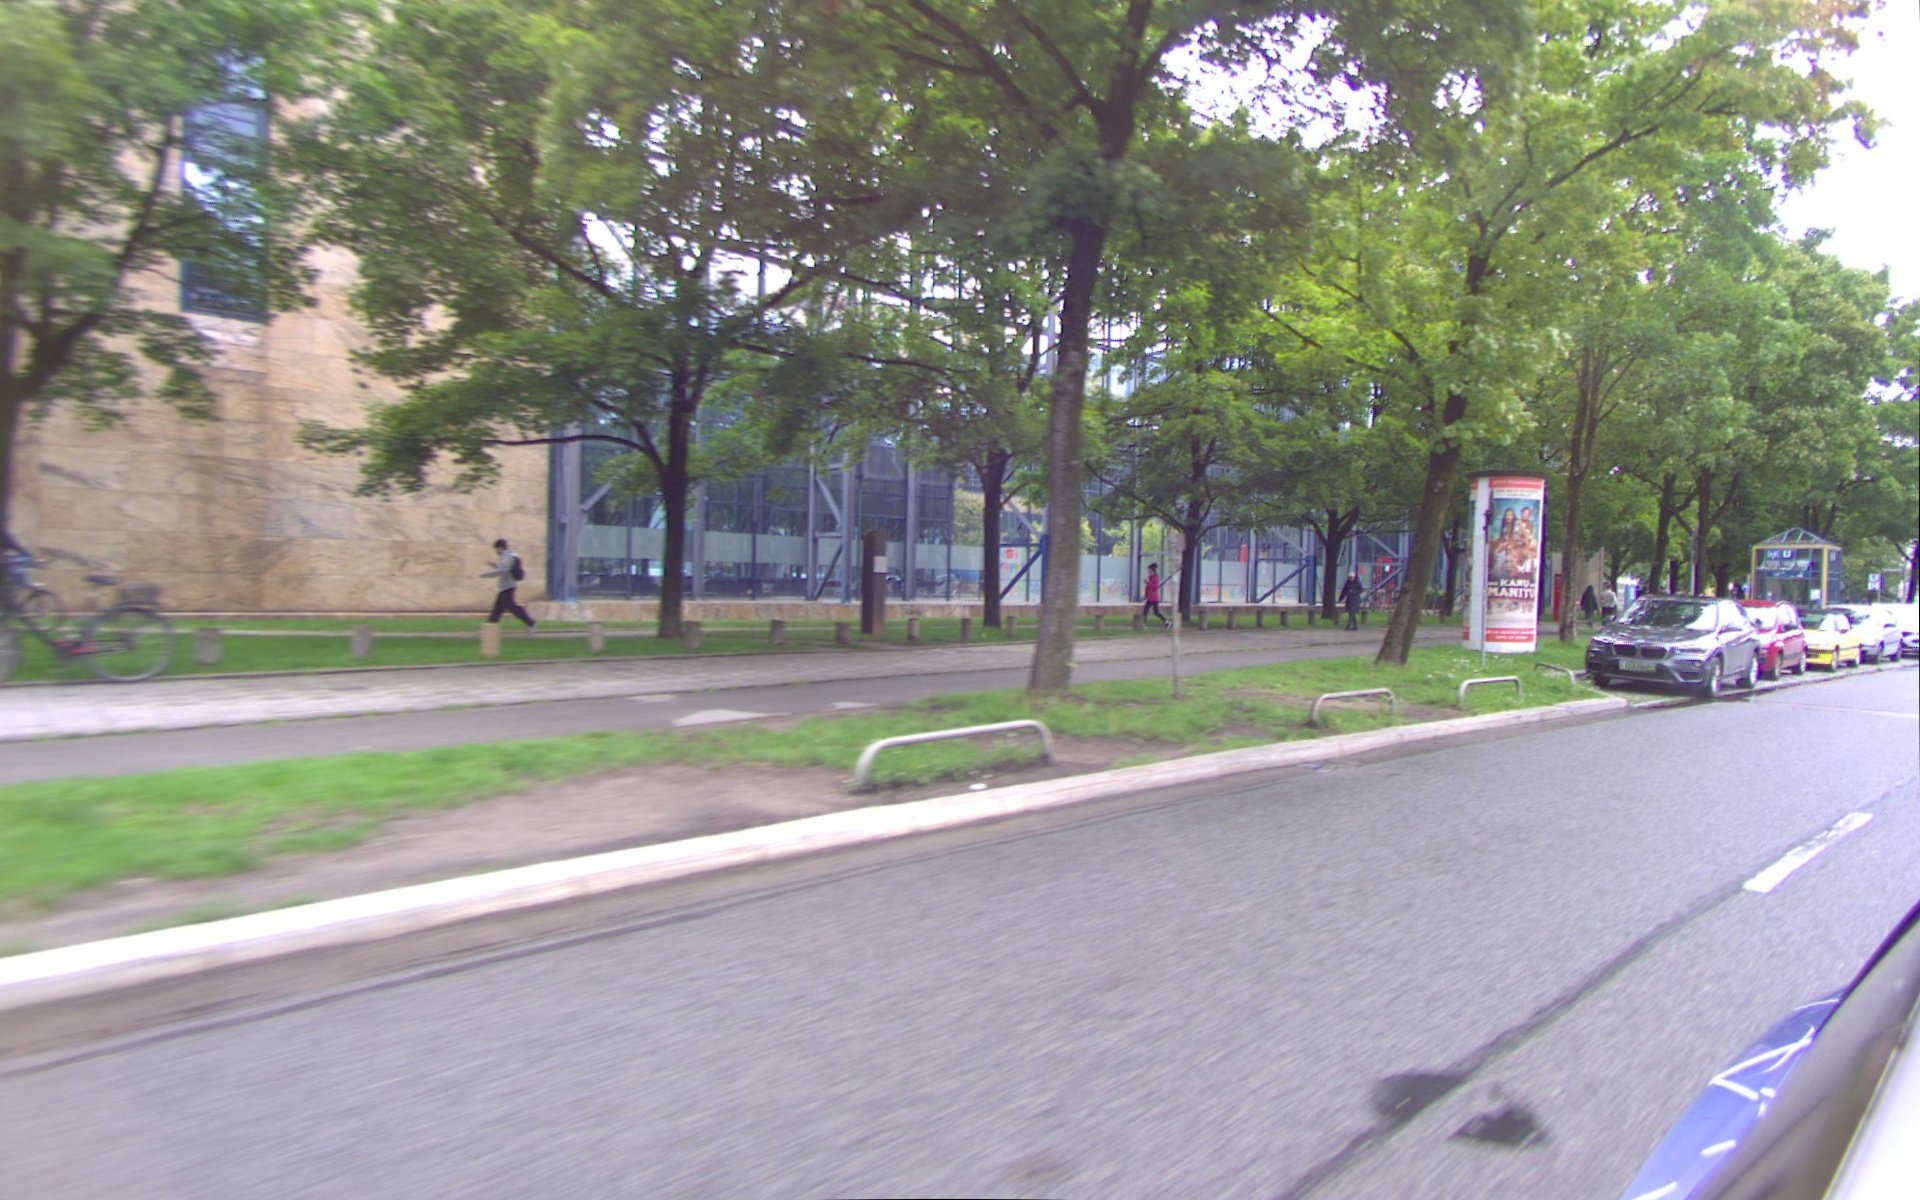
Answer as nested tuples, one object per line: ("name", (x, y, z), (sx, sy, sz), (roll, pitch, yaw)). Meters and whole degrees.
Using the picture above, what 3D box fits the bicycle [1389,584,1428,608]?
("bicycle", (18.237, -0.171, 41.107), (2.027, 0.952, 0.571), (-1, 2, -39))

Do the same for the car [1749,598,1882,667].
("car", (20.039, 0.698, 23.655), (4.119, 1.398, 1.627), (0, 2, -39))

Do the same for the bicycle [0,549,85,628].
("bicycle", (-14.503, -0.193, 15.383), (1.731, 1.143, 0.728), (1, 1, -5))

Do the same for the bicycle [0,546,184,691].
("bicycle", (-8.351, 0.146, 9.295), (1.889, 1.266, 0.621), (0, 2, -44))

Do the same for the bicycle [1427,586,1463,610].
("bicycle", (19.502, -0.088, 40.677), (1.731, 0.952, 0.618), (0, 2, -39))

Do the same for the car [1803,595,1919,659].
("car", (23.735, 0.664, 26.546), (3.823, 1.493, 1.628), (0, 2, -37))

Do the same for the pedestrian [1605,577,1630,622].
("pedestrian", (24.991, -0.016, 38.482), (0.426, 1.661, 0.613), (0, 3, -38))

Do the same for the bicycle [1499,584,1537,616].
("bicycle", (21.862, -0.003, 39.642), (2.103, 1.207, 0.512), (-1, 2, -39))

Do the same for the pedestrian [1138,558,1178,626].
("pedestrian", (5.012, -0.211, 25.688), (0.847, 1.665, 0.738), (2, 3, 4))

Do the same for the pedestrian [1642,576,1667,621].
("pedestrian", (27.429, -0.070, 39.968), (0.601, 1.710, 0.612), (-1, 4, -42))

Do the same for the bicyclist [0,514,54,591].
("bicyclist", (-14.551, -0.725, 15.366), (0.940, 1.143, 0.728), (1, 1, -5))

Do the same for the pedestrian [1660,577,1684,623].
("pedestrian", (27.837, -0.019, 39.568), (0.649, 1.743, 0.527), (-1, 4, -42))

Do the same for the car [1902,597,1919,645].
("car", (32.056, 0.693, 32.743), (3.665, 1.525, 1.684), (0, 2, -37))

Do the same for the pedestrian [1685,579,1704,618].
("pedestrian", (33.821, -0.078, 46.614), (0.549, 1.743, 0.527), (-1, 4, -42))

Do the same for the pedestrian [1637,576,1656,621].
("pedestrian", (26.420, -0.073, 38.947), (0.343, 1.711, 0.434), (1, 1, -32))

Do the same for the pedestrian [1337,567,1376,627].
("pedestrian", (11.375, -0.094, 29.041), (0.632, 1.665, 0.740), (0, 3, -31))

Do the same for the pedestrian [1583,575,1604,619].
("pedestrian", (24.405, -0.113, 39.003), (0.419, 1.647, 0.506), (-1, 4, -42))

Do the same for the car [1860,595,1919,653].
("car", (28.008, 0.676, 29.642), (4.020, 1.550, 1.684), (0, 2, -37))

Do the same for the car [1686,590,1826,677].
("car", (16.369, 0.620, 20.761), (3.560, 1.593, 1.554), (0, 2, -40))

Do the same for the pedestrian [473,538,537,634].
("pedestrian", (-8.111, -0.254, 18.058), (0.862, 1.666, 0.573), (1, 1, -2))

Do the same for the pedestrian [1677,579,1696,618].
("pedestrian", (33.240, -0.085, 46.322), (0.549, 1.743, 0.527), (-1, 4, -42))

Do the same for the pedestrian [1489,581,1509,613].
("pedestrian", (21.072, -0.115, 39.590), (0.418, 1.193, 0.507), (0, 3, -38))

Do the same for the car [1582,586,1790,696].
("car", (12.733, 0.618, 17.644), (4.521, 1.610, 1.865), (0, 2, -40))
